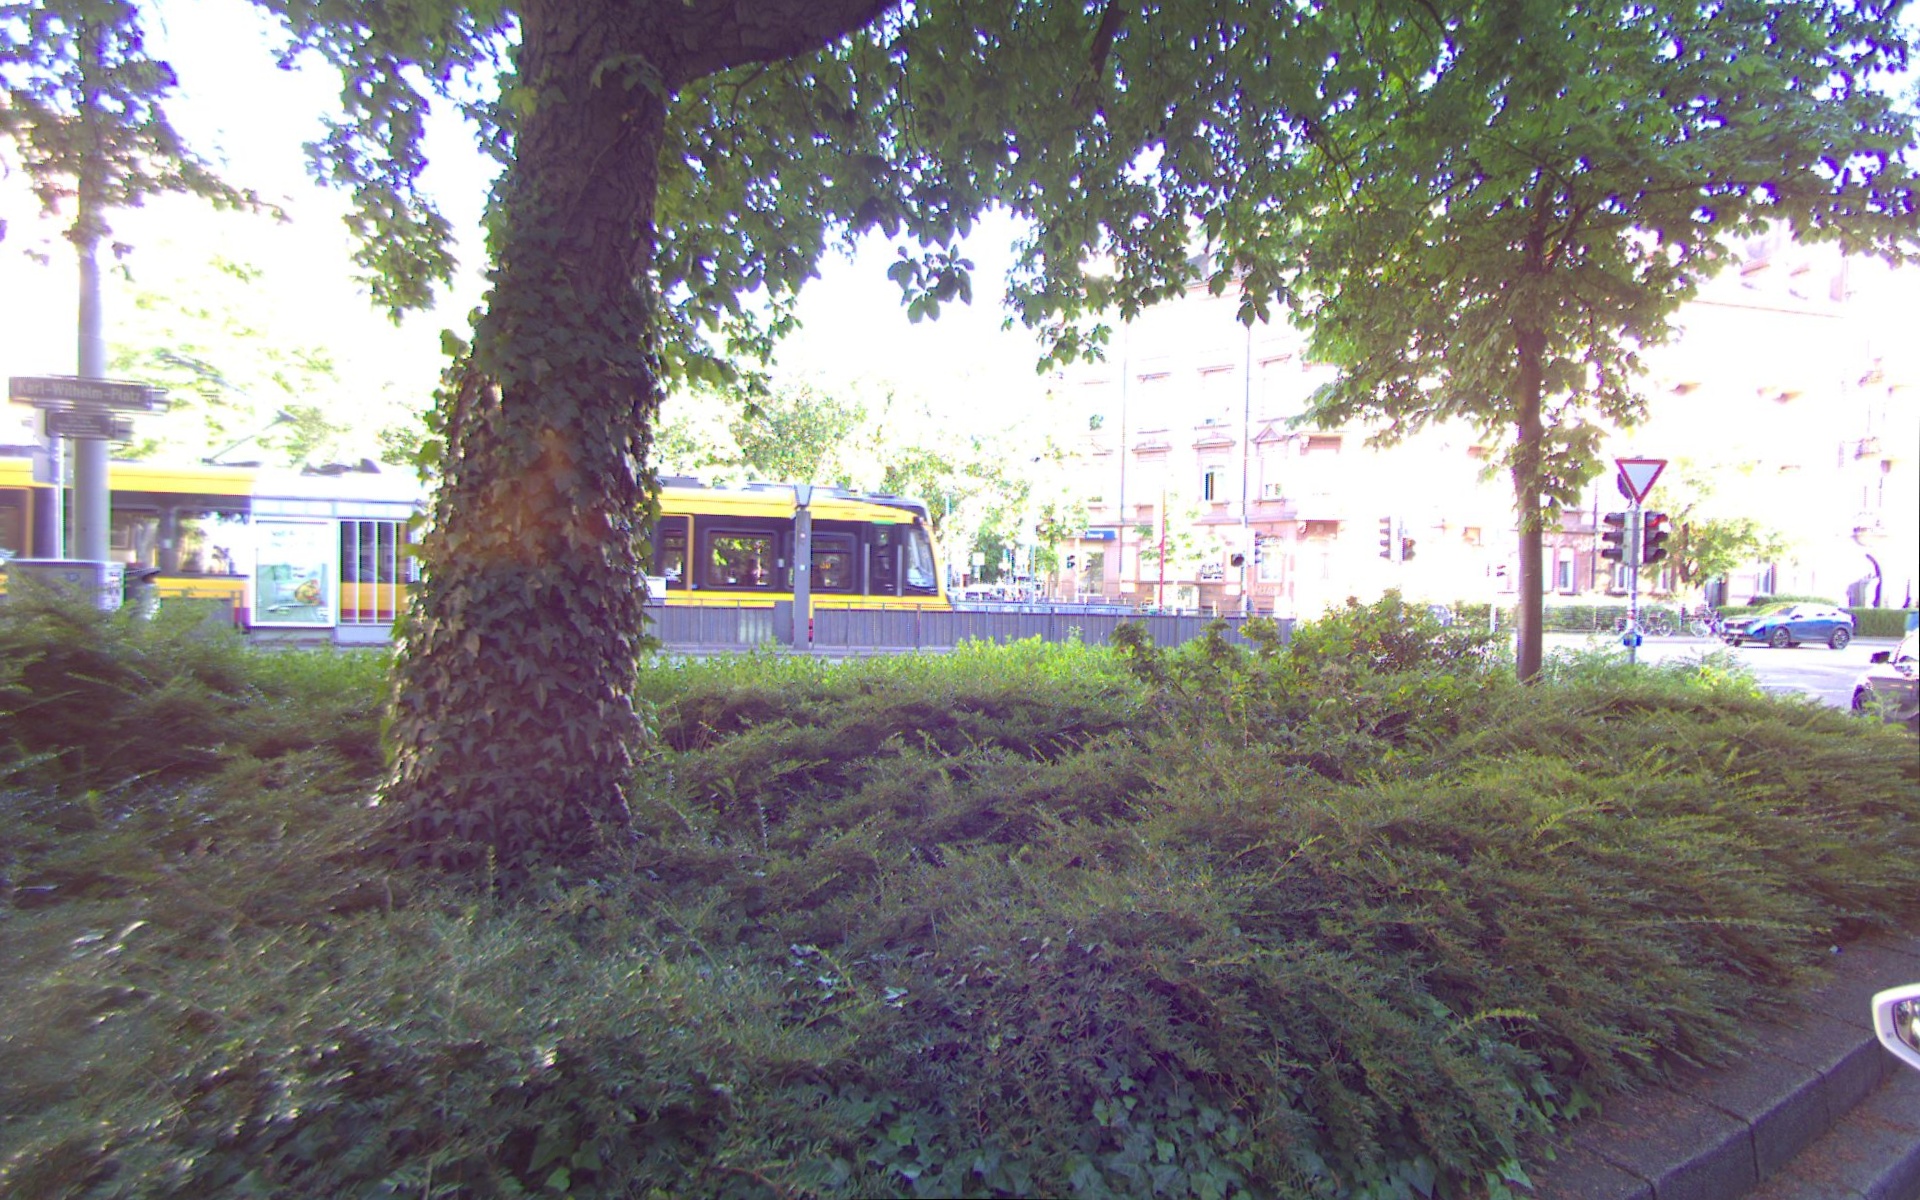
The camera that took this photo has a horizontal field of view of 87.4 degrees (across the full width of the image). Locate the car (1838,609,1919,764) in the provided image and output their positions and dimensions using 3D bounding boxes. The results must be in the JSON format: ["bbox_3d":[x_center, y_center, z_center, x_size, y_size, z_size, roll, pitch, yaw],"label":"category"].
[{"bbox_3d":[10.781,0.882,10.293,1.762,1.562,3.855,0,0,27],"label":"car"}]

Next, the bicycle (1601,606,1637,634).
[{"bbox_3d":[27.710,0.848,42.228,1.210,1.122,0.442,2,2,-7],"label":"bicycle"}]

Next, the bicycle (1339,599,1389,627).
[{"bbox_3d":[17.579,0.557,43.733,1.928,1.122,0.443,3,2,22],"label":"bicycle"}]

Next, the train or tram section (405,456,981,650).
[{"bbox_3d":[-5.528,-0.889,22.422,11.598,3.668,2.793,1,1,-13],"label":"train or tram section"}]

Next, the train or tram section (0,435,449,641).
[{"bbox_3d":[-17.095,-1.183,19.695,12.206,3.635,2.779,1,1,-13],"label":"train or tram section"}]

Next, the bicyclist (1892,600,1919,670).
[{"bbox_3d":[22.731,0.833,23.881,0.664,1.619,0.528,1,1,-18],"label":"bicyclist"}]

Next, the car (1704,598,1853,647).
[{"bbox_3d":[30.001,0.818,36.877,4.333,1.672,1.944,1,1,-12],"label":"car"}]

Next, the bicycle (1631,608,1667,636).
[{"bbox_3d":[29.059,0.925,42.377,1.210,1.122,0.442,1,2,-7],"label":"bicycle"}]

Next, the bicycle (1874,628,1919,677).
[{"bbox_3d":[22.697,1.240,23.872,1.936,1.122,0.533,1,1,-19],"label":"bicycle"}]

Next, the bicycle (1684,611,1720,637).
[{"bbox_3d":[31.587,1.006,42.768,1.211,1.052,0.442,1,2,-8],"label":"bicycle"}]
